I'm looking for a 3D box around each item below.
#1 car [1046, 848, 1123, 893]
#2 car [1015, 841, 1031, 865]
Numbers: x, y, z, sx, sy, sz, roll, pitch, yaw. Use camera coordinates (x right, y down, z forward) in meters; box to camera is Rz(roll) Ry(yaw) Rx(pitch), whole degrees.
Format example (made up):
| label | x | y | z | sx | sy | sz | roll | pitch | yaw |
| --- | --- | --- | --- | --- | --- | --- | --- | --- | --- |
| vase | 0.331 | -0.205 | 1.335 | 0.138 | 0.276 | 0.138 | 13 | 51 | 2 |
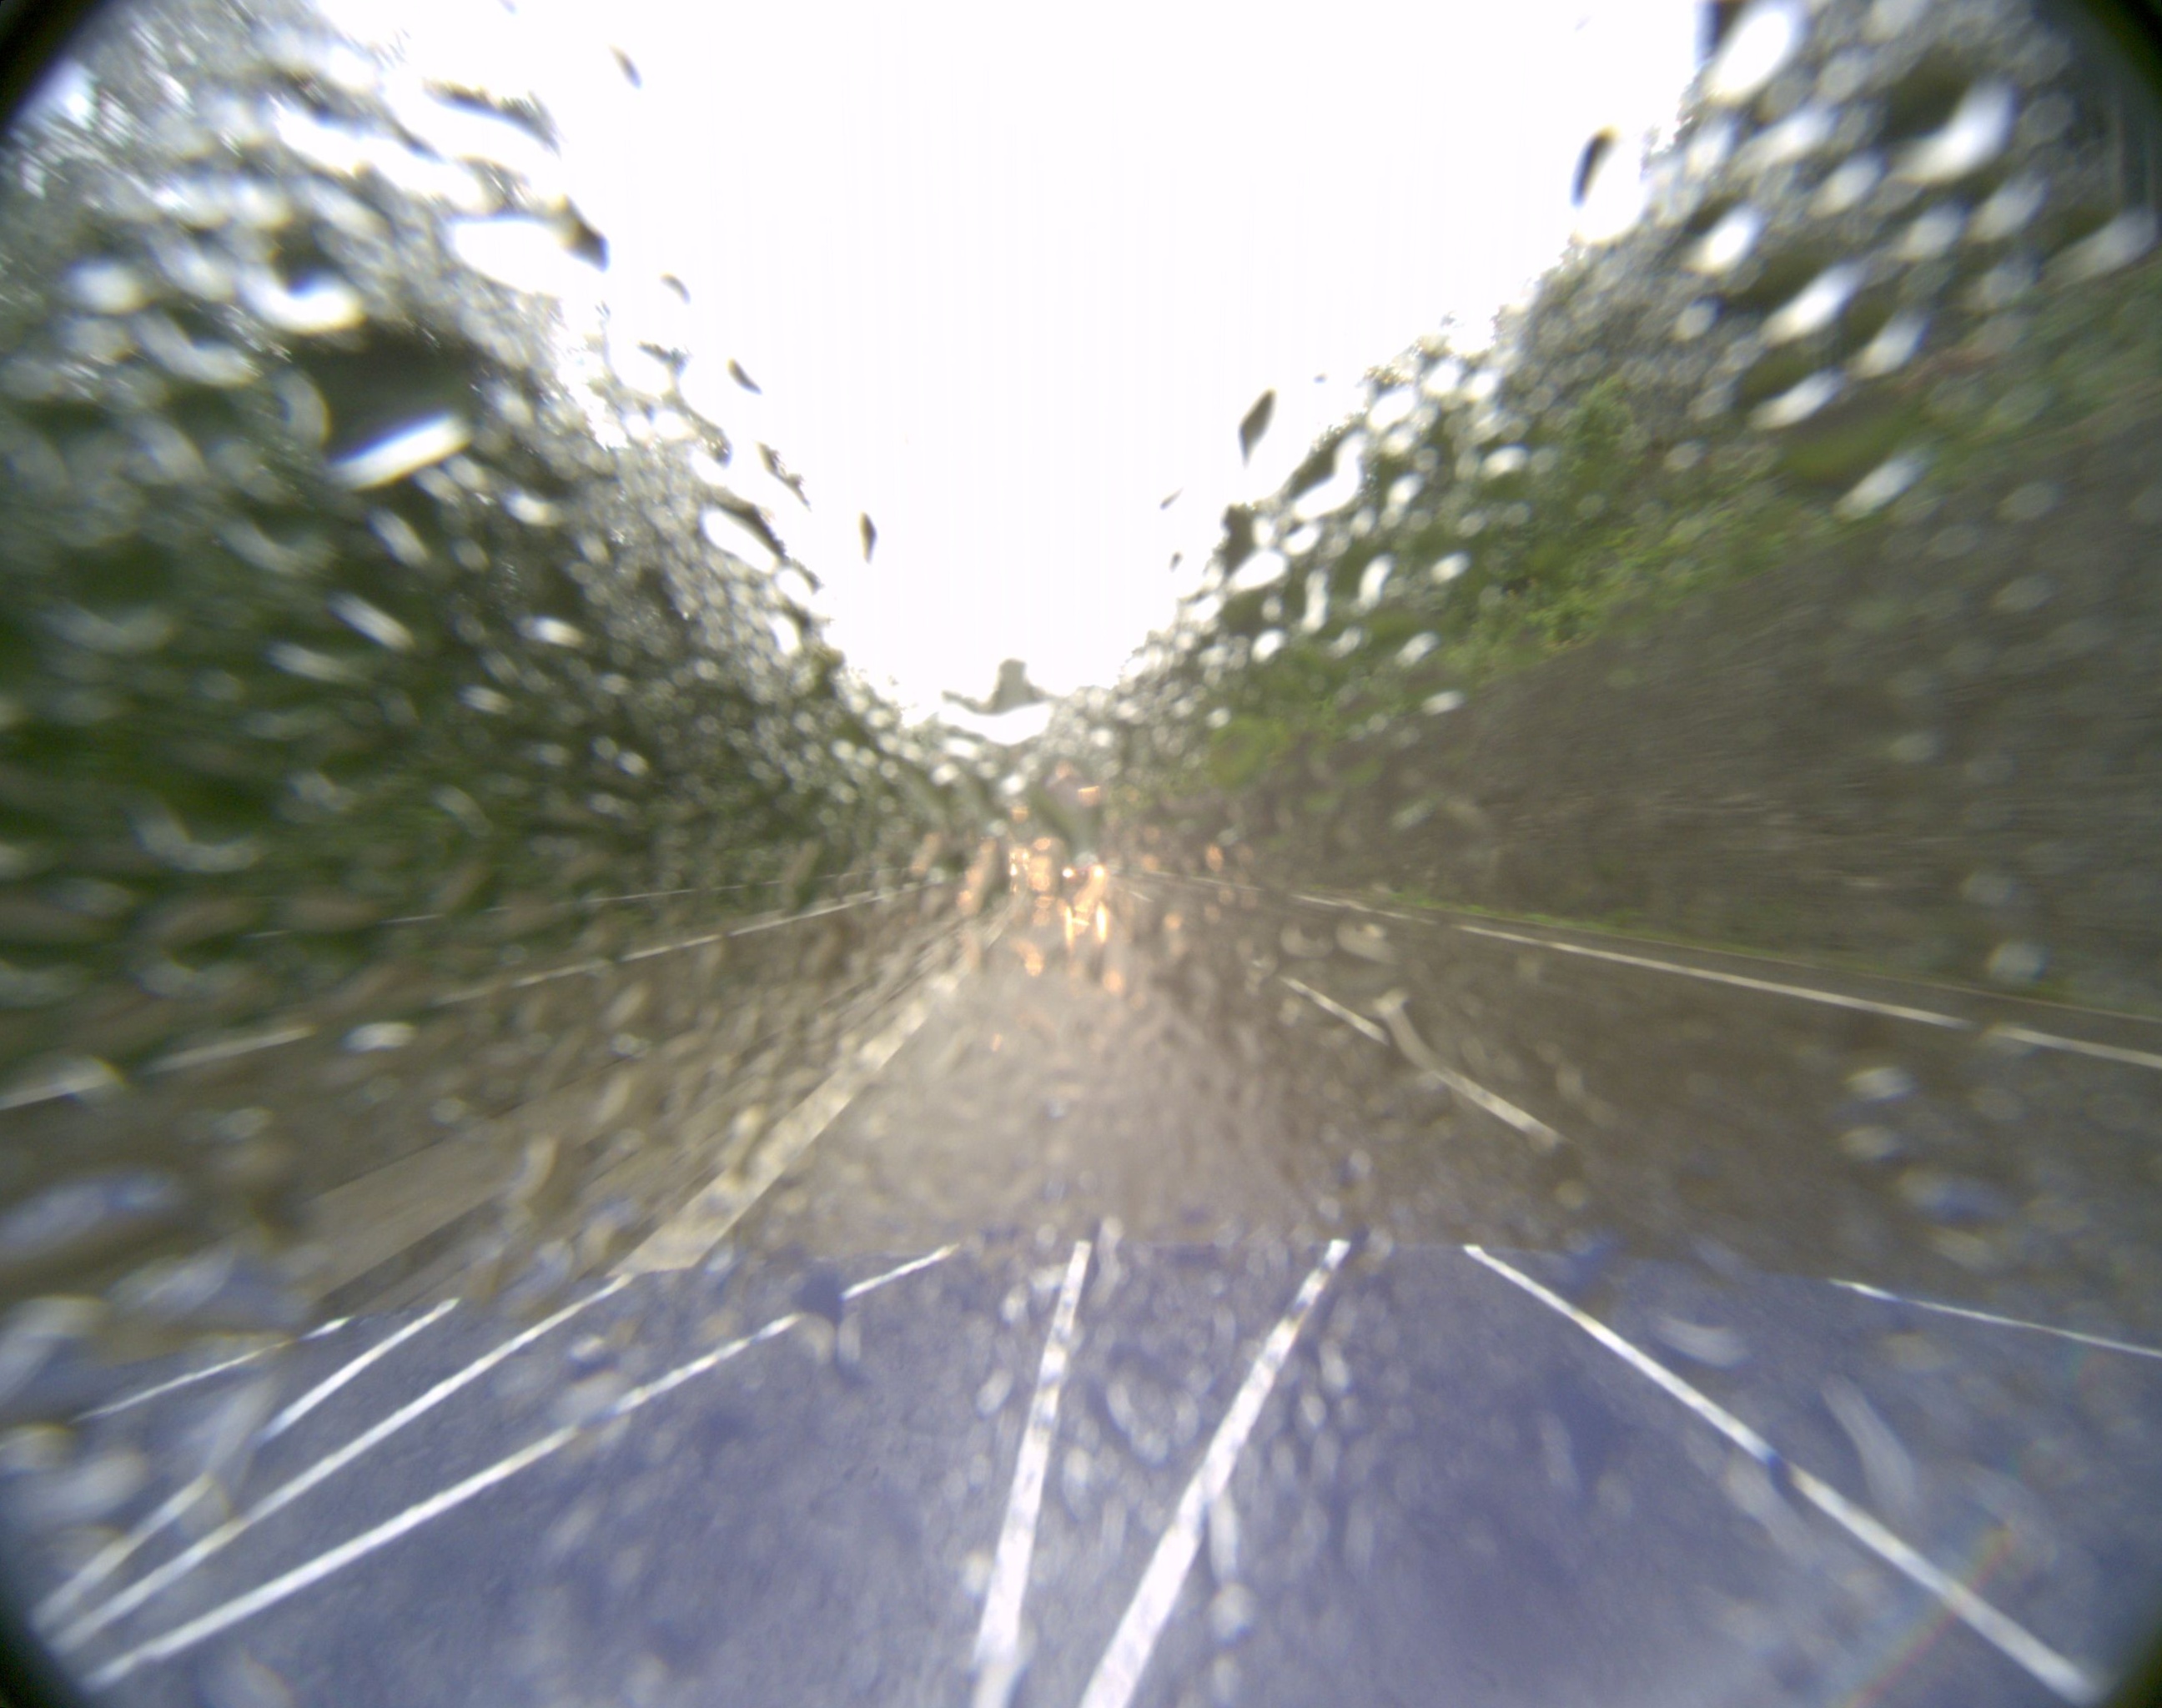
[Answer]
| label | x | y | z | sx | sy | sz | roll | pitch | yaw |
| --- | --- | --- | --- | --- | --- | --- | --- | --- | --- |
| car | 0.008 | 0.560 | 30.144 | 2.361 | 1.549 | 5.495 | -1 | 1 | -6 |
| car | -7.704 | -0.143 | 101.052 | 1.743 | 3.008 | 3.996 | 1 | 1 | -10 |
